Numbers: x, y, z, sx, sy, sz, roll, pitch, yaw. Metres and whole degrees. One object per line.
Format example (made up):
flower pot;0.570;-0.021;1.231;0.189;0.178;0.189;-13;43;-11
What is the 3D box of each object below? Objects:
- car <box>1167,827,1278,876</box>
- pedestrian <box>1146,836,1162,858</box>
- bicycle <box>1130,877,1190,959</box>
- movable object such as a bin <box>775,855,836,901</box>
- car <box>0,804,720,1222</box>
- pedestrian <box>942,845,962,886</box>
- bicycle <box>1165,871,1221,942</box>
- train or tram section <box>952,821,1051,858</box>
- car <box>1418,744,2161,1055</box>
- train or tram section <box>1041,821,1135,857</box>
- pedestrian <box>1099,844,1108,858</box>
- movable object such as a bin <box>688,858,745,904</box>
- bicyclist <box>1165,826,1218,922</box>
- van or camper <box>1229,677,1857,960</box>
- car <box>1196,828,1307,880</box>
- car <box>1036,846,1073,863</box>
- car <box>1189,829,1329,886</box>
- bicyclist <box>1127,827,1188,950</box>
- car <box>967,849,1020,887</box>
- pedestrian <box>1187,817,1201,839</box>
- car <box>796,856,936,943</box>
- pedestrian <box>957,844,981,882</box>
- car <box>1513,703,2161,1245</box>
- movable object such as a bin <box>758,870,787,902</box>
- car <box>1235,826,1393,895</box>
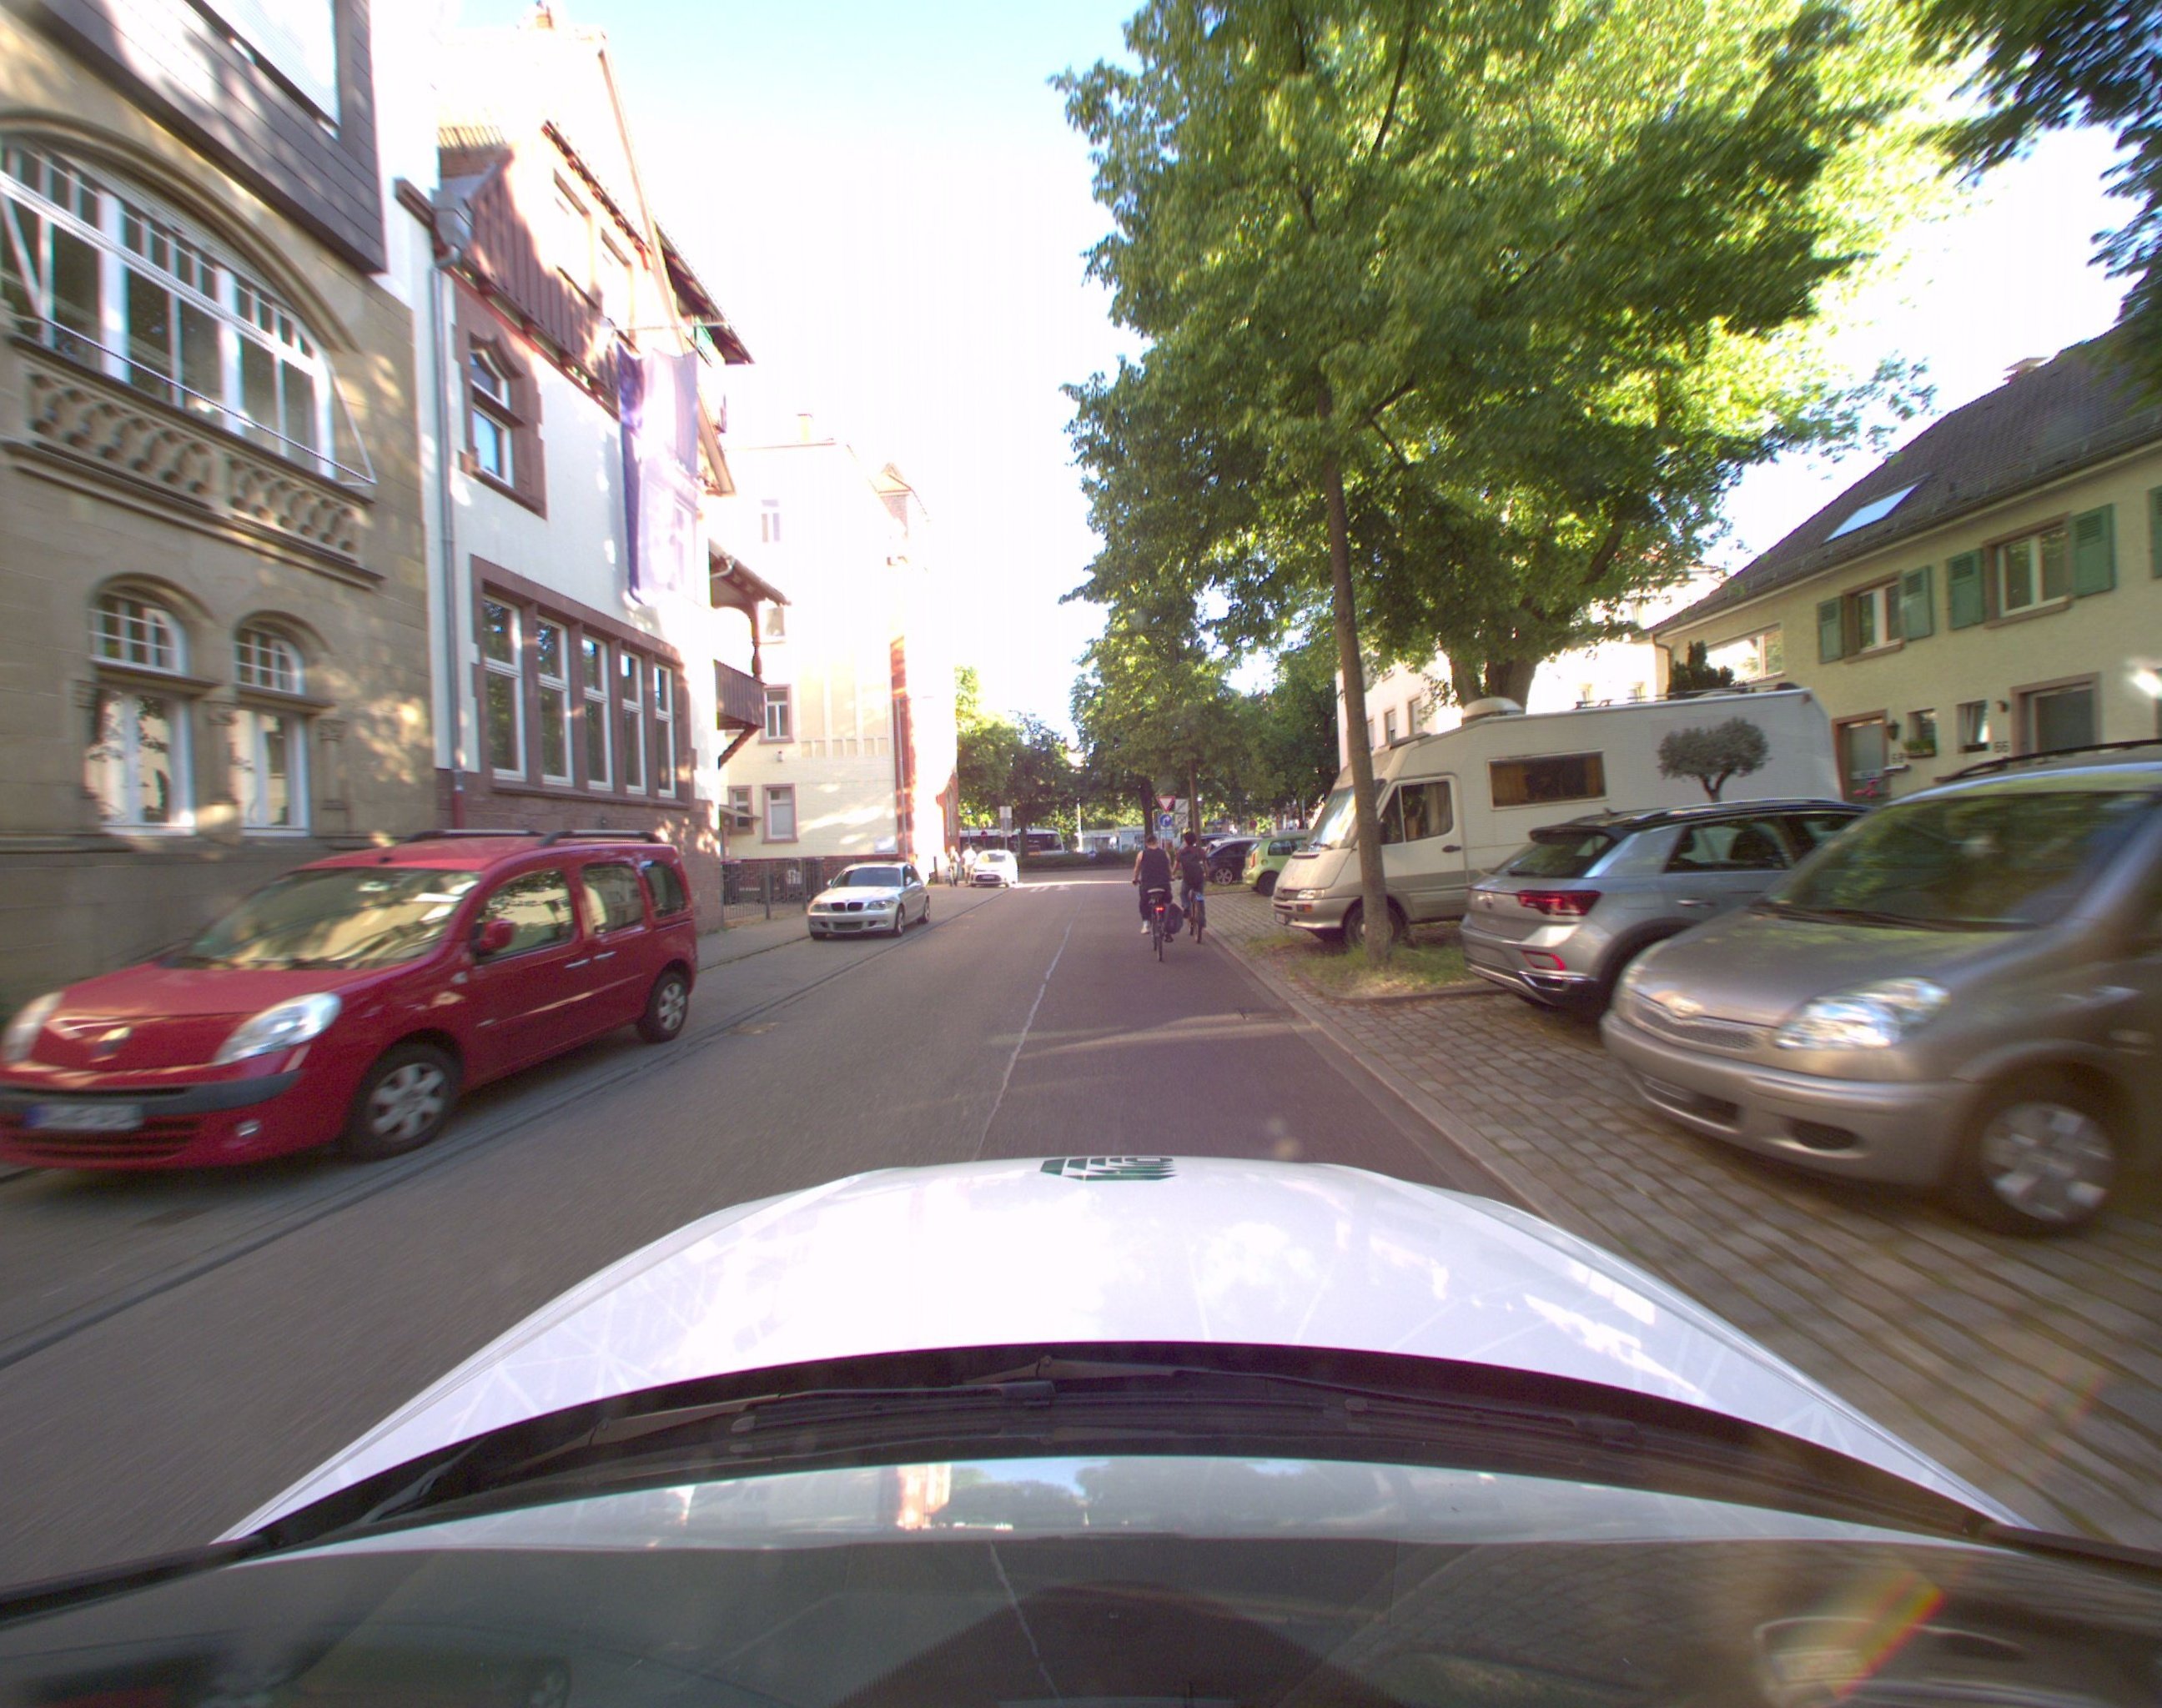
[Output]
car;5.806;-0.124;33.687;4.096;1.712;2.022;-4;1;-3
pedestrian;6.480;-0.621;72.480;1.020;1.897;0.906;-3;0;-20
bicycle;1.102;0.873;11.777;0.735;1.012;2.062;0;0;2
movable object such as a bin;-8.208;0.696;24.300;1.367;1.299;0.971;-2;0;11
car;-4.562;0.717;5.906;1.791;1.906;4.327;-1;0;2
pedestrian;-5.231;0.442;33.042;0.598;1.604;0.854;-3;0;-2
bicycle;1.849;0.838;13.718;0.671;1.054;2.061;-2;-1;1
train or tram section;-7.188;-1.298;73.521;8.448;3.177;2.842;-1;0;-21
car;4.893;0.300;6.016;3.945;1.598;1.905;-5;-1;4
train or tram section;0.689;-1.416;76.598;8.448;3.201;2.842;-1;0;-21
pedestrian;2.515;-0.321;90.682;0.809;1.543;0.818;0;0;-10
movable object such as a bin;-10.933;0.797;24.463;1.378;1.317;0.686;-2;0;-6
bicyclist;1.830;0.328;13.608;0.669;1.514;1.069;-3;-1;0
van or camper;5.807;-0.451;11.013;7.056;3.077;2.464;-3;0;-1
car;6.036;-0.007;29.133;3.675;1.651;1.707;-3;0;5
car;-3.263;0.027;99.986;4.005;1.870;1.984;-3;1;-24
car;5.678;0.106;26.374;4.089;1.411;1.793;-5;0;1
bicyclist;1.081;0.472;11.751;0.749;1.682;0.914;-3;0;2
car;-3.635;0.534;34.391;1.698;1.485;3.799;0;1;2
pedestrian;8.801;-2.016;63.452;0.909;1.684;0.783;-3;0;11
car;-4.219;0.820;16.676;1.738;1.466;4.102;-2;1;0
pedestrian;-4.928;0.389;35.895;0.864;1.643;0.861;-2;0;1
car;4.389;0.299;3.628;3.900;1.744;1.730;-5;0;1
movable object such as a bin;-9.053;0.942;23.907;0.477;0.879;0.675;-2;0;11
car;5.940;0.139;21.077;3.576;1.505;1.679;-4;1;1
